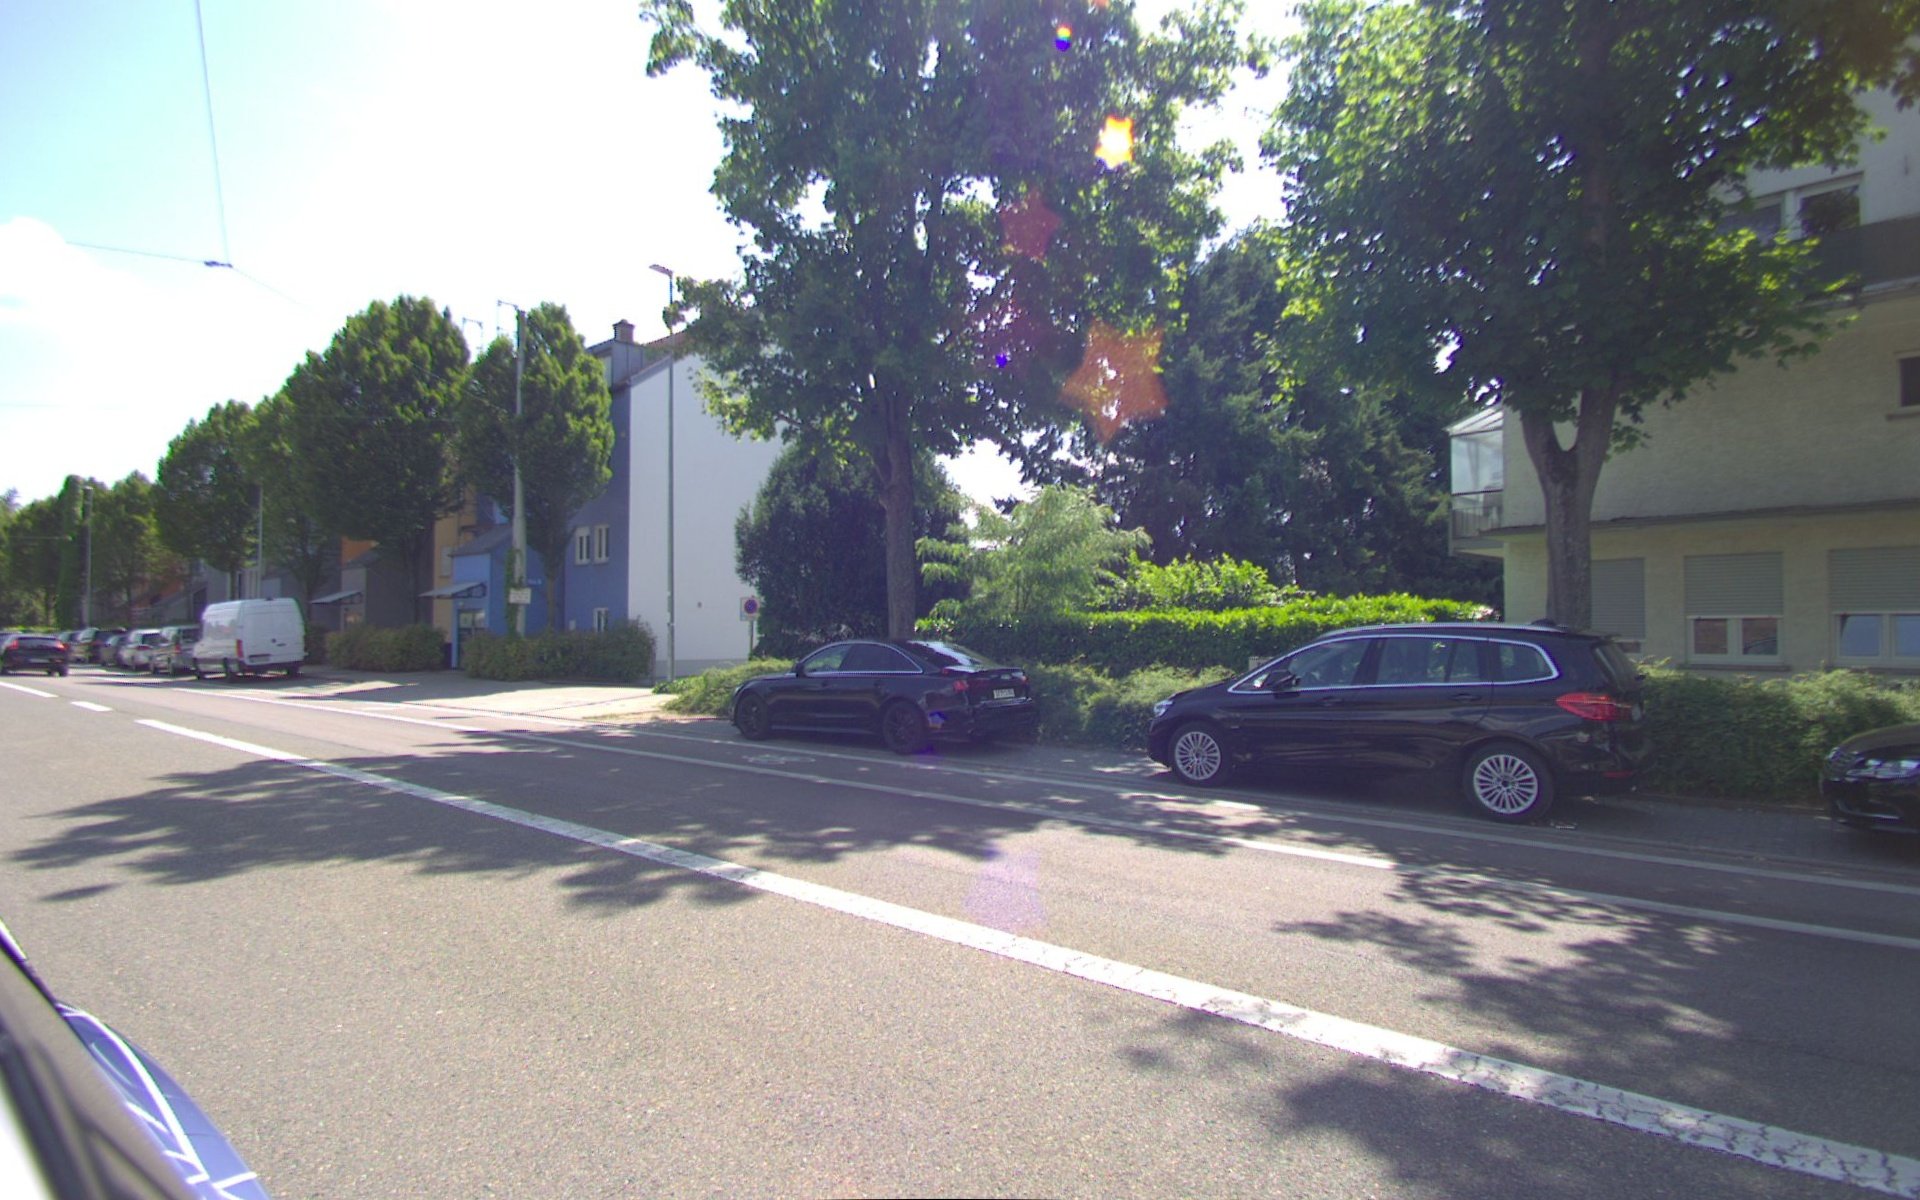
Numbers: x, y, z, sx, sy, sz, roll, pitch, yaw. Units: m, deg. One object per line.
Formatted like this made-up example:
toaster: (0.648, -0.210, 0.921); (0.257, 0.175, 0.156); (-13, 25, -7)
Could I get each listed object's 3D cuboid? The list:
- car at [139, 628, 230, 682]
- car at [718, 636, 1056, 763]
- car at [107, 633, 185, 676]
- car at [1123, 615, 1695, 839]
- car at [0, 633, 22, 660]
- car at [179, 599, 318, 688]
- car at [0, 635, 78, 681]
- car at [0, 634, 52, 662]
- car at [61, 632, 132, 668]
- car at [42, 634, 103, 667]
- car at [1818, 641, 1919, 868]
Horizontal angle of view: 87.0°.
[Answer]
car: (-30.628, 2.127, 39.927); (5.359, 1.909, 1.788); (-2, 0, 41)
car: (-1.155, 1.240, 13.984); (4.800, 1.467, 1.757); (-2, -2, 40)
car: (-35.191, 2.315, 43.710); (4.900, 1.765, 1.699); (-2, -2, 40)
car: (4.011, 0.993, 9.564); (4.633, 1.616, 1.757); (-2, -2, 40)
car: (-61.277, 2.944, 64.217); (4.677, 1.621, 1.641); (-2, -1, 36)
car: (-24.588, 1.462, 34.842); (7.032, 2.671, 2.299); (-2, 1, 42)
car: (-31.738, 1.935, 34.372); (4.186, 1.471, 1.759); (-2, -4, 36)
car: (-56.729, 2.893, 61.183); (4.885, 1.519, 1.641); (-1, 1, 35)
car: (-43.041, 2.466, 50.408); (4.881, 1.729, 1.734); (-2, -3, 38)
car: (-47.254, 2.671, 53.853); (4.279, 1.630, 1.640); (-1, -3, 38)
car: (8.196, 0.977, 5.978); (4.692, 1.383, 1.757); (-2, -1, 40)
